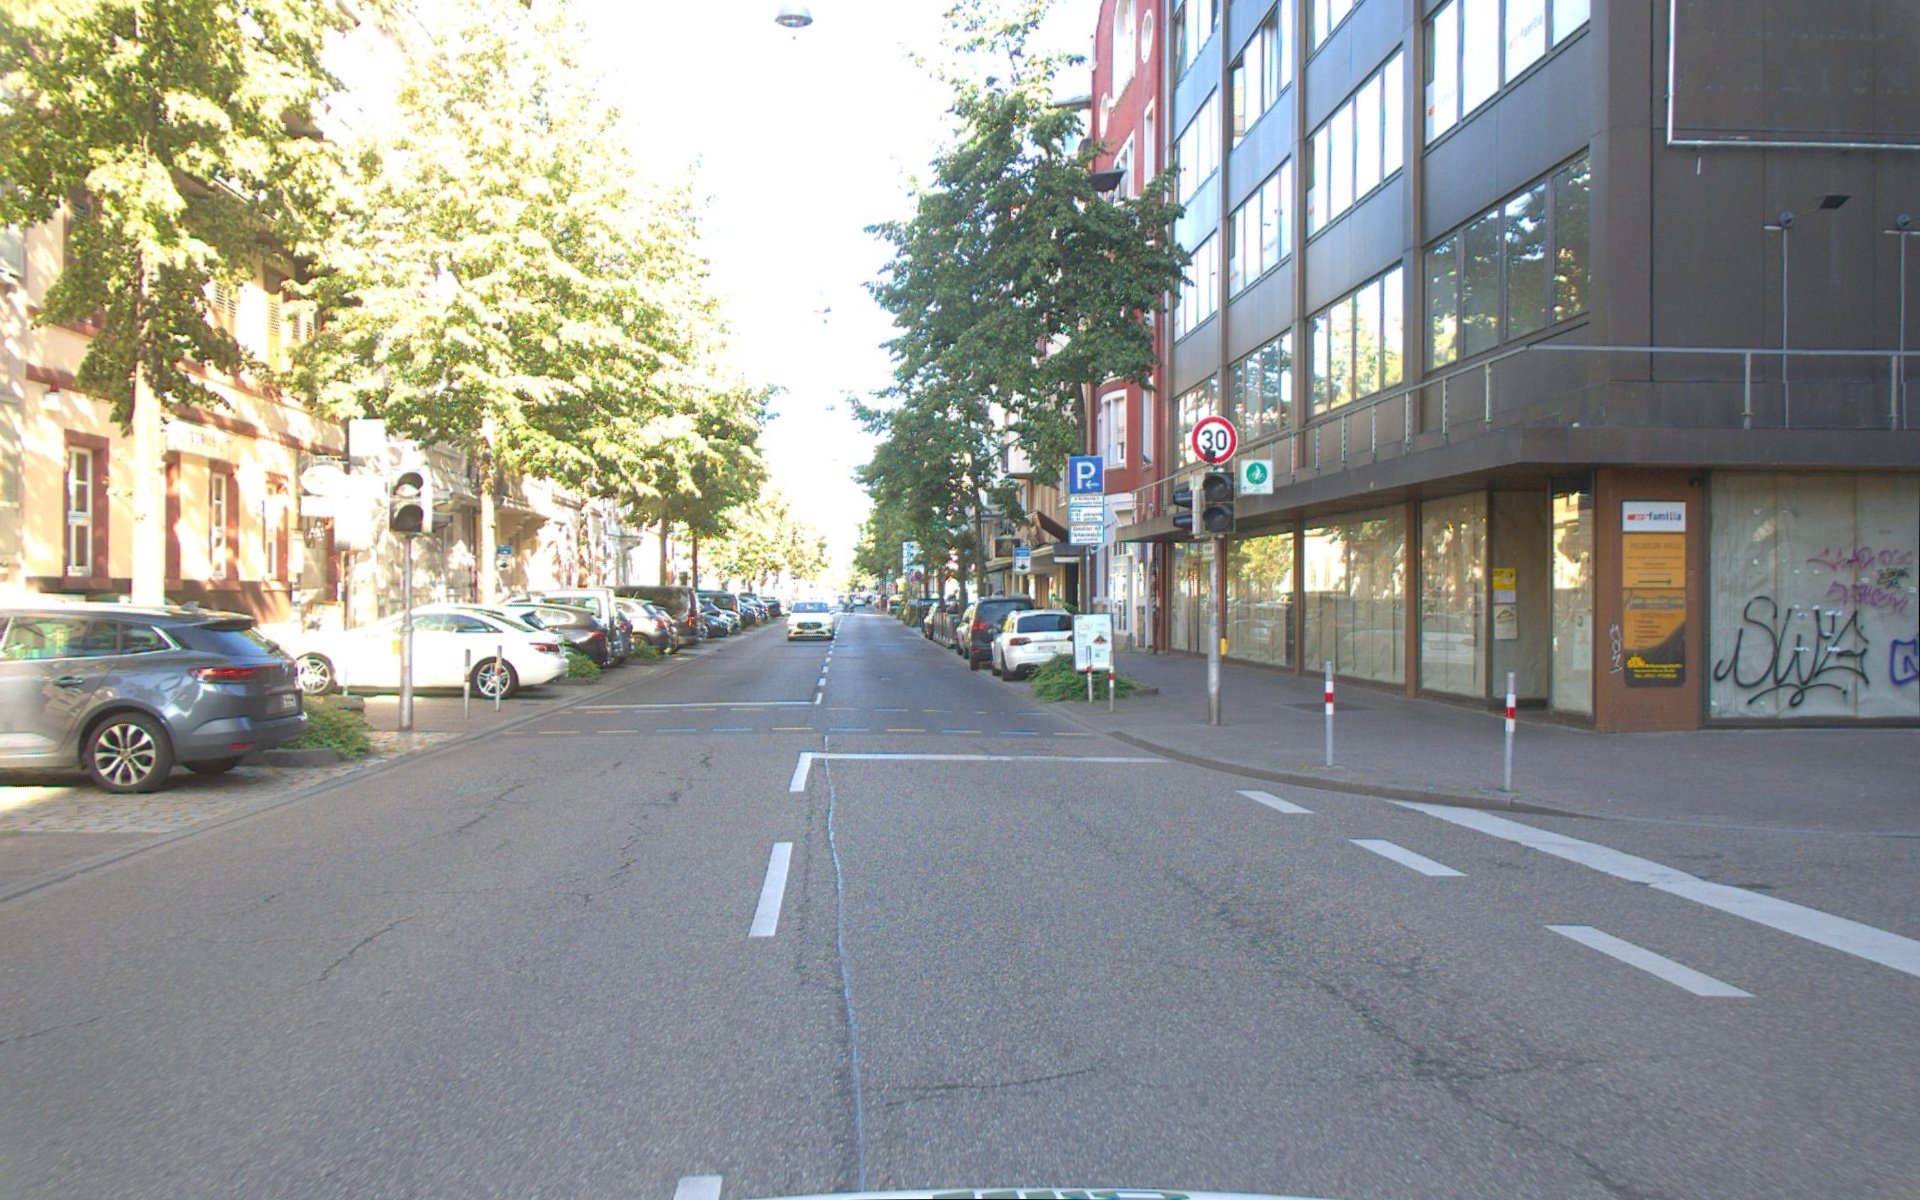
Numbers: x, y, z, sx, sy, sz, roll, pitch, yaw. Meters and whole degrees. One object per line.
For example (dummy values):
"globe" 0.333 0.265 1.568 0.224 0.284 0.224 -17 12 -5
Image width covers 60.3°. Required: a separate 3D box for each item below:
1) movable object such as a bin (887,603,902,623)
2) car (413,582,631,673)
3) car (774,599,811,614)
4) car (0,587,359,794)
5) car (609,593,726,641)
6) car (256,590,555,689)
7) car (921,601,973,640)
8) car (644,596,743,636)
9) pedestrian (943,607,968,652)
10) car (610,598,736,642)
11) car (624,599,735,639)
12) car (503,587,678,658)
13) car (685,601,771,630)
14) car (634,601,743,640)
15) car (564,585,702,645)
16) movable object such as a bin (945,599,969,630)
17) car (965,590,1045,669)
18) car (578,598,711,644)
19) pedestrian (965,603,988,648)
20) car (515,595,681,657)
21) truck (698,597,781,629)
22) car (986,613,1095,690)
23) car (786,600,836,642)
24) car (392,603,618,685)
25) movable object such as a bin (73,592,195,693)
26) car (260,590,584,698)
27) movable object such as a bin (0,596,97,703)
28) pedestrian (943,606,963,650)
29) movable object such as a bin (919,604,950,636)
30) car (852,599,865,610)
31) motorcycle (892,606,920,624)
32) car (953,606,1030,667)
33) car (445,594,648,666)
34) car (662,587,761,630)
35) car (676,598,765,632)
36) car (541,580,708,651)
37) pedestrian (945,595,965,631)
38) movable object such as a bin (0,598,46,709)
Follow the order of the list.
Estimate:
"movable object such as a bin" -5.404 1.055 136.356 1.118 1.589 1.460 0 0 4
"car" -9.526 0.591 36.241 4.252 1.856 1.929 1 0 -2
"car" -18.828 0.704 186.239 3.905 1.724 2.000 0 0 0
"car" -7.508 0.692 13.796 4.252 1.571 1.943 1 0 -2
"car" -11.350 0.659 64.425 4.254 1.739 1.915 1 0 -4
"car" -9.559 0.671 28.865 4.612 1.518 1.996 2 0 -9
"car" -0.566 0.807 67.492 1.786 1.497 4.908 -2 0 -4
"car" -12.567 0.758 78.231 4.377 1.803 1.915 1 0 -3
"pedestrian" -0.159 1.008 57.452 0.733 1.563 0.808 0 0 10
"car" -10.686 0.745 61.890 4.376 1.568 1.916 1 0 -2
"car" -11.620 0.795 68.785 4.379 1.568 1.914 1 0 -5
"car" -9.649 0.595 43.495 4.256 1.764 1.914 1 0 -6
"car" -12.943 0.882 92.628 4.587 1.546 1.807 1 0 -3
"car" -11.714 0.871 71.539 4.375 1.568 1.916 1 0 -1
"car" -10.615 0.489 53.652 4.266 1.866 1.910 1 0 -14
"movable object such as a bin" -0.129 0.688 78.437 1.056 1.456 1.294 0 0 -4
"car" 1.078 0.702 41.776 1.785 1.808 4.930 -2 0 0
"car" -10.741 0.715 56.527 4.255 1.464 1.914 1 0 -6
"pedestrian" 0.589 0.898 58.782 0.696 1.563 0.770 0 0 10
"car" -9.993 0.710 45.894 4.256 1.623 1.914 1 0 -6
"truck" -13.657 0.776 102.712 4.985 1.972 1.998 0 0 -5
"car" 1.653 1.043 35.374 1.786 1.427 4.838 -2 0 -3
"car" -5.847 0.817 65.194 1.873 1.571 4.349 1 0 -5
"car" -9.174 0.886 33.536 4.268 1.571 1.956 1 0 -16
"movable object such as a bin" -12.408 0.627 24.888 1.110 1.470 1.381 1 -1 -1
"car" -8.498 0.710 26.536 4.612 1.518 1.996 2 -2 -9
"movable object such as a bin" -12.328 0.648 22.166 0.801 1.386 1.345 1 -1 -1
"pedestrian" -0.242 0.980 58.747 0.637 1.563 0.979 0 0 -6
"movable object such as a bin" -1.158 0.925 76.009 1.371 1.479 1.145 0 0 -4
"car" -13.575 0.624 220.554 1.757 1.436 3.997 0 0 -4
"motorcycle" -4.112 1.130 126.096 1.945 1.353 0.908 0 0 -17
"car" 0.849 1.022 48.133 1.786 1.624 4.838 -2 0 -4
"car" -9.687 0.698 38.988 4.250 1.571 1.916 1 0 0
"car" -12.169 0.413 81.233 4.587 1.984 1.915 1 0 -3
"car" -12.962 0.795 89.808 4.587 1.742 1.807 1 0 -3
"car" -9.777 0.442 48.492 4.481 1.960 1.929 1 0 -2
"pedestrian" -0.264 0.702 91.469 0.906 1.969 0.761 0 0 21
"movable object such as a bin" -12.289 0.656 20.842 0.812 1.379 1.248 1 -1 -1
